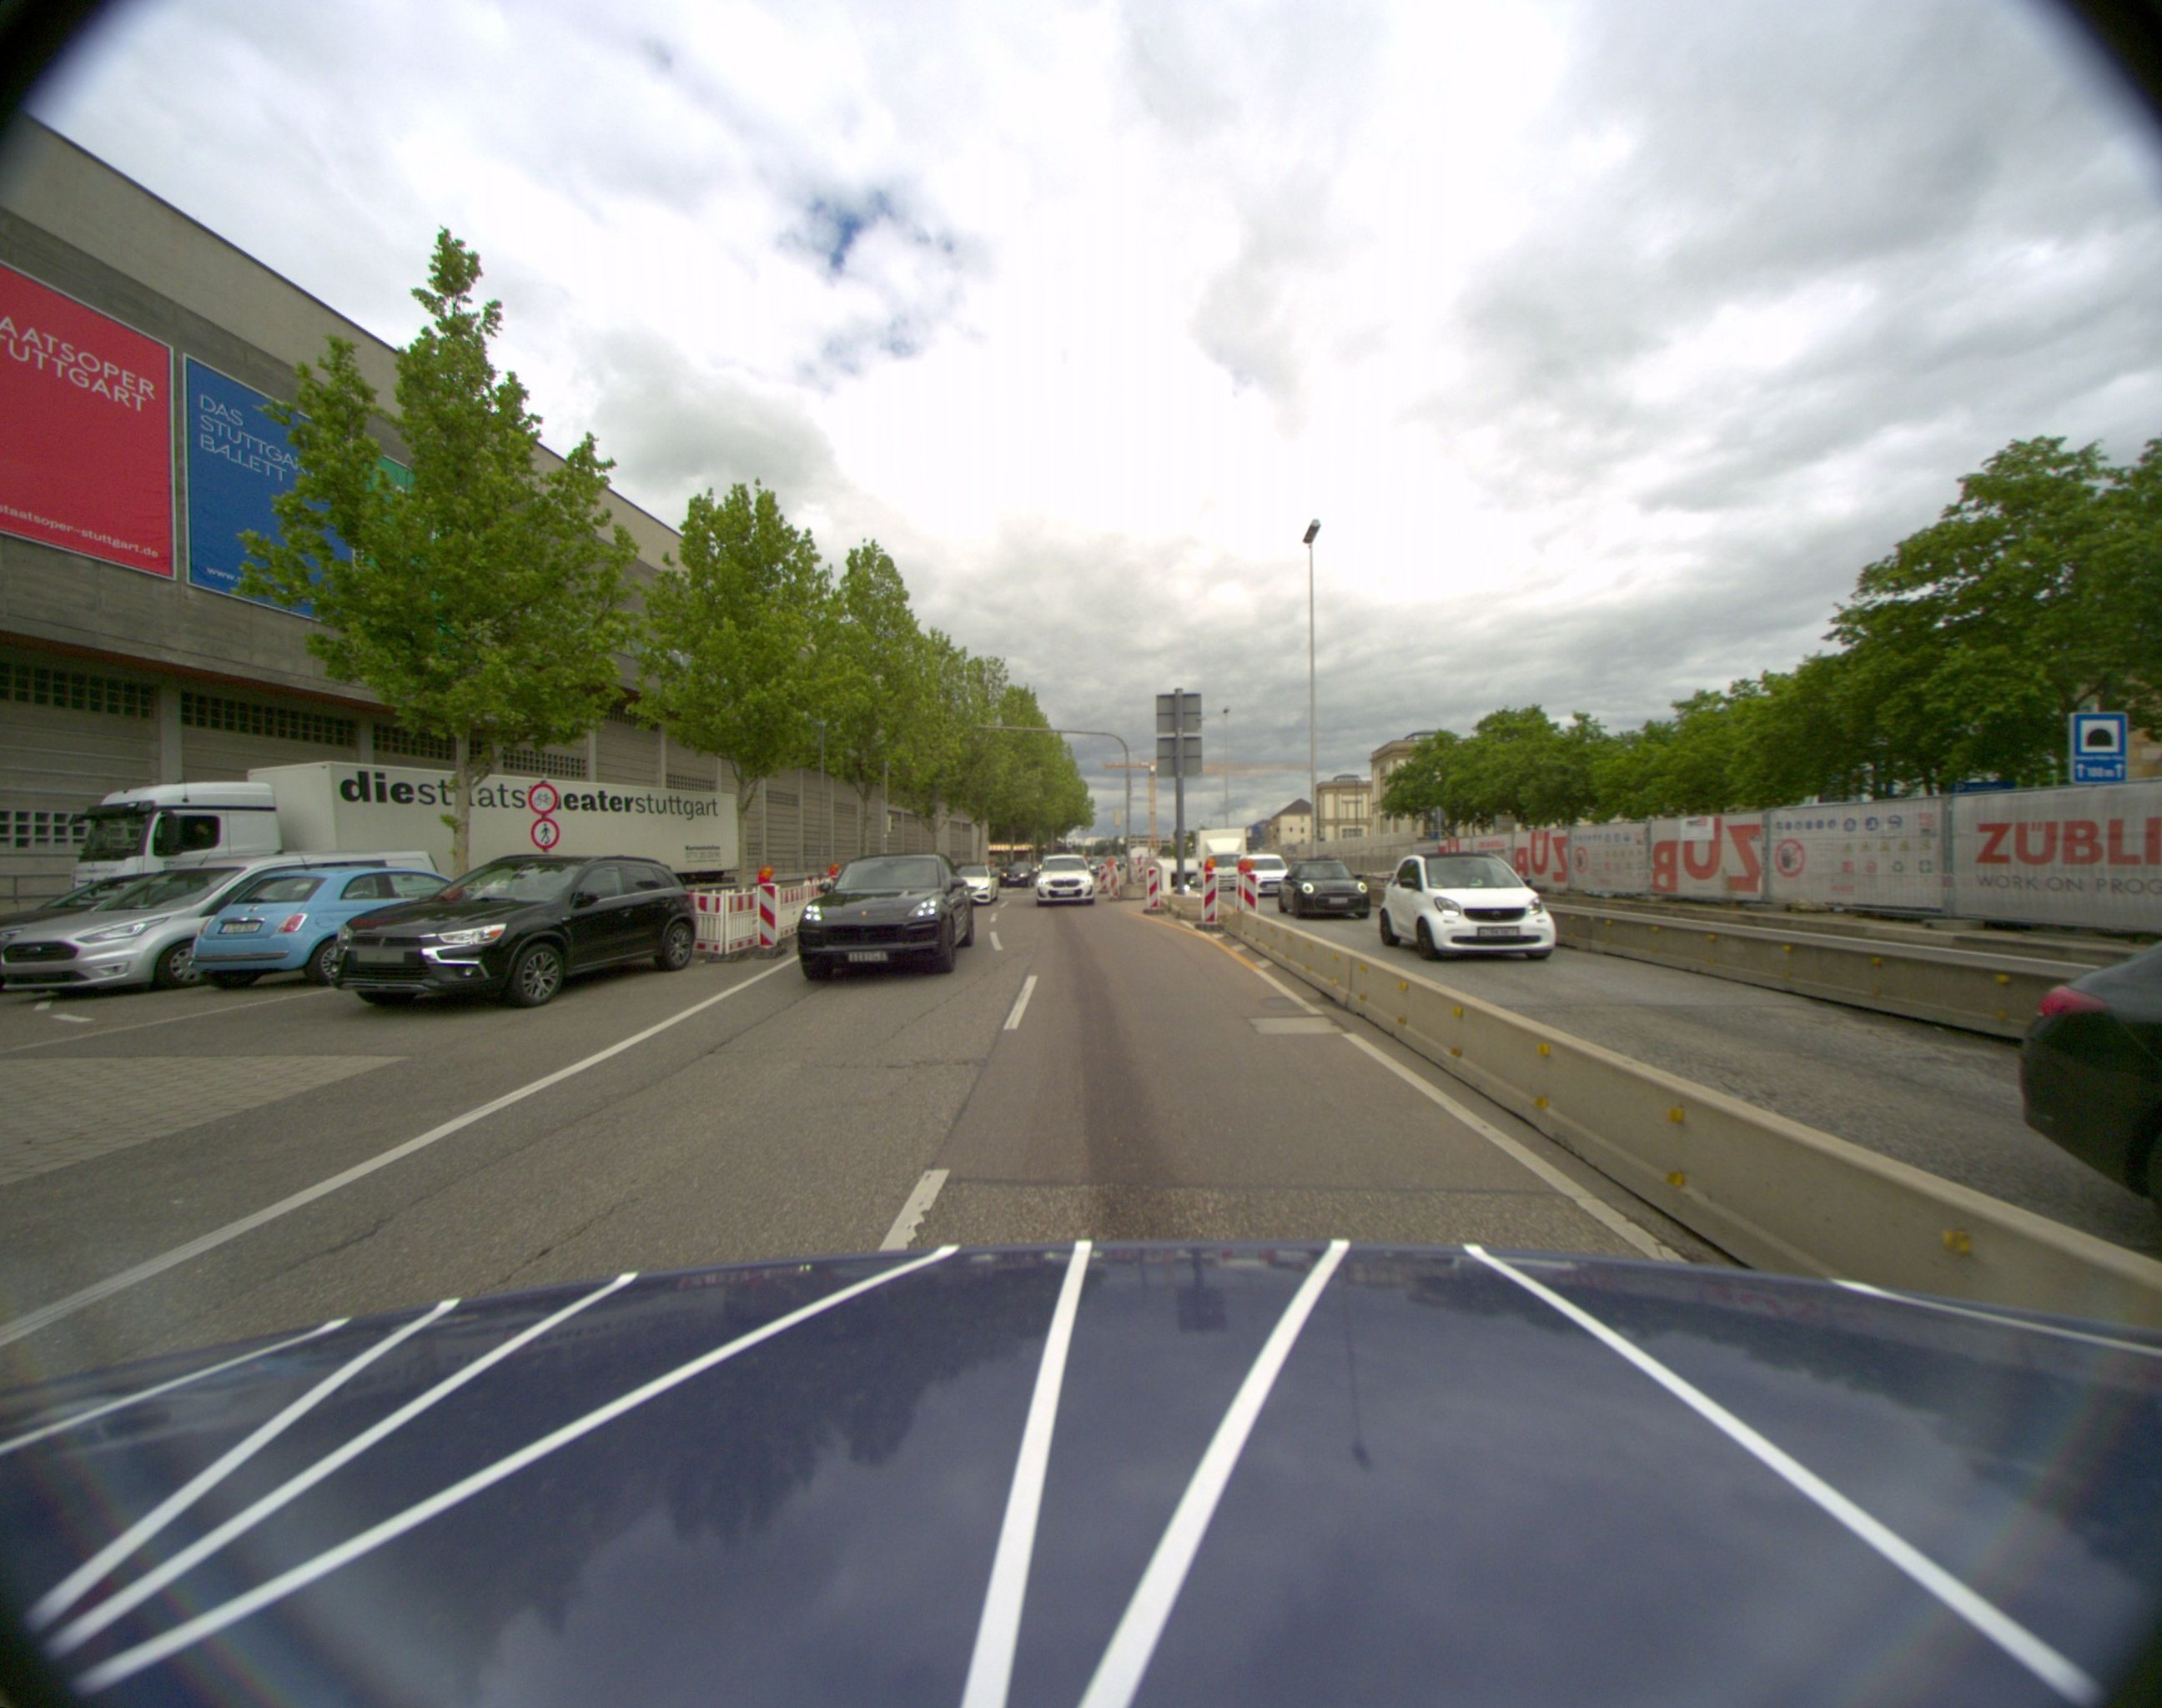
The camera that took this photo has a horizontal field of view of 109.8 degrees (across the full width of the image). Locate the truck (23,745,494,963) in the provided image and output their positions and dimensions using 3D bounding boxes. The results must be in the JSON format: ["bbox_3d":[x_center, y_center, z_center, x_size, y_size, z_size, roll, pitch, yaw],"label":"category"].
[{"bbox_3d":[-18.270,0.015,17.689,3.136,4.061,6.579,-2,1,14],"label":"truck"}]

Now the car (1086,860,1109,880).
[{"bbox_3d":[1.383,1.299,62.359,1.611,1.464,3.623,-1,0,4],"label":"car"}]

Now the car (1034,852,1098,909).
[{"bbox_3d":[-0.503,0.802,25.246,1.856,1.618,4.905,-2,0,-1],"label":"car"}]

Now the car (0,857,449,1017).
[{"bbox_3d":[-12.298,0.996,11.161,1.809,1.773,4.623,-3,0,5],"label":"car"}]

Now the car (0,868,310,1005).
[{"bbox_3d":[-14.711,1.137,11.638,1.718,1.679,3.762,-2,0,5],"label":"car"}]

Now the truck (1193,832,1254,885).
[{"bbox_3d":[8.144,0.243,44.117,2.976,2.757,7.259,-1,0,7],"label":"truck"}]

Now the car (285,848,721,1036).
[{"bbox_3d":[-6.549,0.861,9.437,1.809,1.728,4.487,-2,-1,2],"label":"car"}]

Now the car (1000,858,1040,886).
[{"bbox_3d":[-3.364,0.963,42.286,1.611,1.464,3.623,-1,0,4],"label":"car"}]

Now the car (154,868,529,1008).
[{"bbox_3d":[-9.921,1.020,10.619,1.583,1.521,3.505,-2,0,5],"label":"car"}]

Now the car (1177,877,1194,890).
[{"bbox_3d":[14.512,4.047,105.754,1.872,1.499,4.000,-3,0,1],"label":"car"}]

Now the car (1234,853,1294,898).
[{"bbox_3d":[7.713,0.870,32.322,1.841,1.751,4.482,-1,0,5],"label":"car"}]

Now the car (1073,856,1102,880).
[{"bbox_3d":[0.452,0.878,48.844,1.611,1.464,3.623,-1,0,4],"label":"car"}]

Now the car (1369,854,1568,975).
[{"bbox_3d":[5.675,0.802,11.522,1.633,1.545,3.003,-2,0,5],"label":"car"}]

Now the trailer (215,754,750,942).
[{"bbox_3d":[-16.564,-0.216,23.918,3.153,4.077,13.985,-3,0,14],"label":"trailer"}]

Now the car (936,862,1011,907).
[{"bbox_3d":[-3.783,1.036,27.431,1.934,1.368,4.001,-2,0,3],"label":"car"}]

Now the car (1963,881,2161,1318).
[{"bbox_3d":[4.354,0.811,0.753,1.858,1.407,4.567,-3,0,5],"label":"car"}]

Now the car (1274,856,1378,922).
[{"bbox_3d":[6.107,0.819,19.370,1.651,1.430,3.936,-2,0,5],"label":"car"}]

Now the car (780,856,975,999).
[{"bbox_3d":[-2.751,0.889,11.300,1.908,1.648,4.199,-2,0,-3],"label":"car"}]

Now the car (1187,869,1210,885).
[{"bbox_3d":[12.826,2.554,83.435,1.872,1.499,4.000,-3,0,1],"label":"car"}]

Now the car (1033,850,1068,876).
[{"bbox_3d":[-2.284,0.672,58.155,1.951,1.914,4.401,-1,0,8],"label":"car"}]
